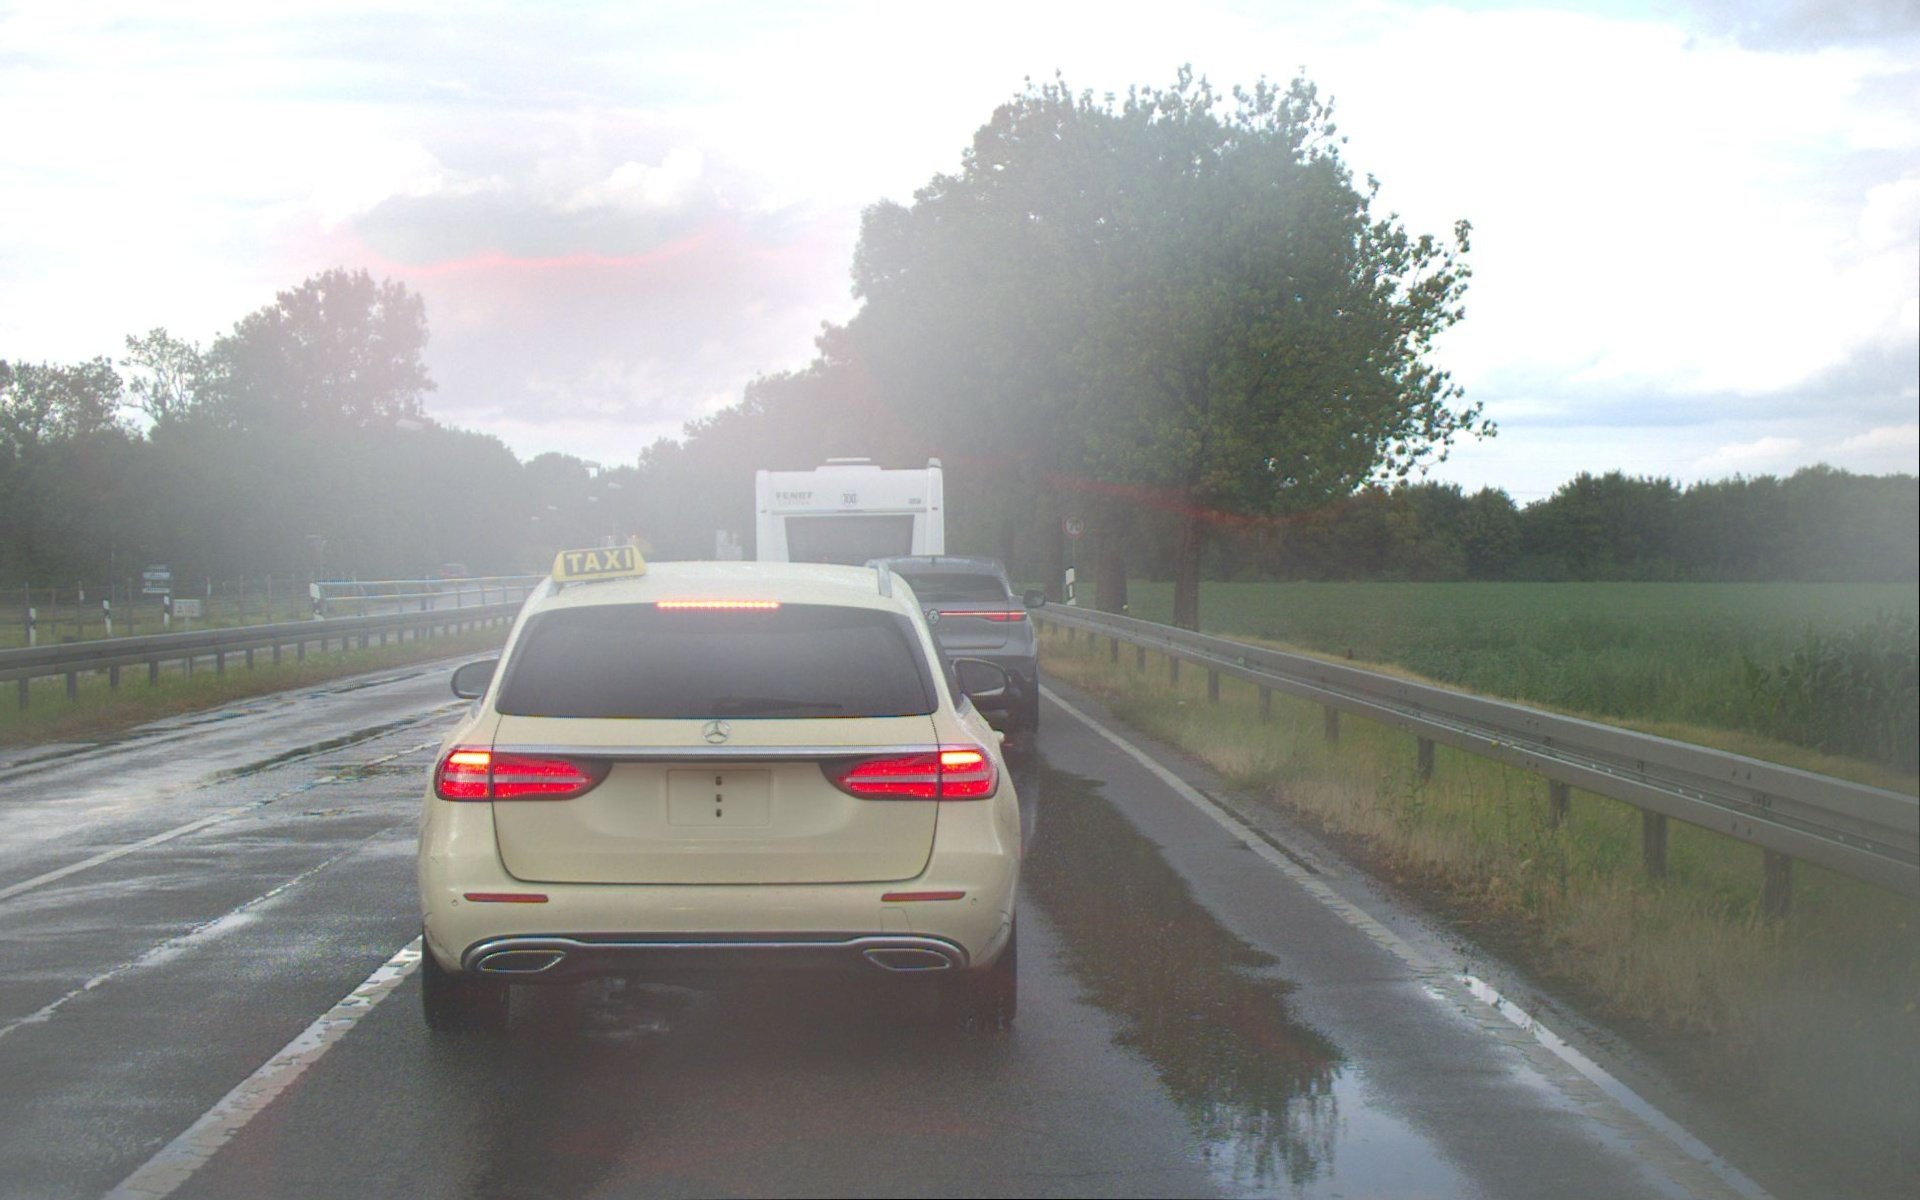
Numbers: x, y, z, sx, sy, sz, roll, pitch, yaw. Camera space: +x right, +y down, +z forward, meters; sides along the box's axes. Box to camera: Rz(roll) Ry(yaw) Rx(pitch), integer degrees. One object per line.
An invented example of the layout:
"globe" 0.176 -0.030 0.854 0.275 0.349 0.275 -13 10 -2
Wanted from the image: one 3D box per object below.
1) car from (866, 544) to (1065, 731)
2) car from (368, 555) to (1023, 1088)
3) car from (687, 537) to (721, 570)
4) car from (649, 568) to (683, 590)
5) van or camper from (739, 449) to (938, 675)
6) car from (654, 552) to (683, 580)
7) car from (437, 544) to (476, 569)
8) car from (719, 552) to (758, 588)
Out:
"car" 0.014 0.273 30.185 1.627 1.524 3.933 0 1 -1
"car" -0.731 0.592 11.666 1.825 1.480 4.145 0 1 0
"car" -15.640 -2.853 210.406 1.993 2.007 4.001 0 1 -3
"car" -17.627 -1.277 206.062 1.758 1.265 4.000 0 1 -1
"van or camper" -1.485 -0.508 43.621 2.350 2.671 5.769 0 1 -1
"car" -20.832 -2.449 245.810 1.993 2.007 4.001 0 1 -6
"car" -33.285 -2.853 227.472 1.993 1.645 4.000 0 1 0
"car" -12.749 -1.730 197.940 1.993 2.044 4.000 0 1 0
